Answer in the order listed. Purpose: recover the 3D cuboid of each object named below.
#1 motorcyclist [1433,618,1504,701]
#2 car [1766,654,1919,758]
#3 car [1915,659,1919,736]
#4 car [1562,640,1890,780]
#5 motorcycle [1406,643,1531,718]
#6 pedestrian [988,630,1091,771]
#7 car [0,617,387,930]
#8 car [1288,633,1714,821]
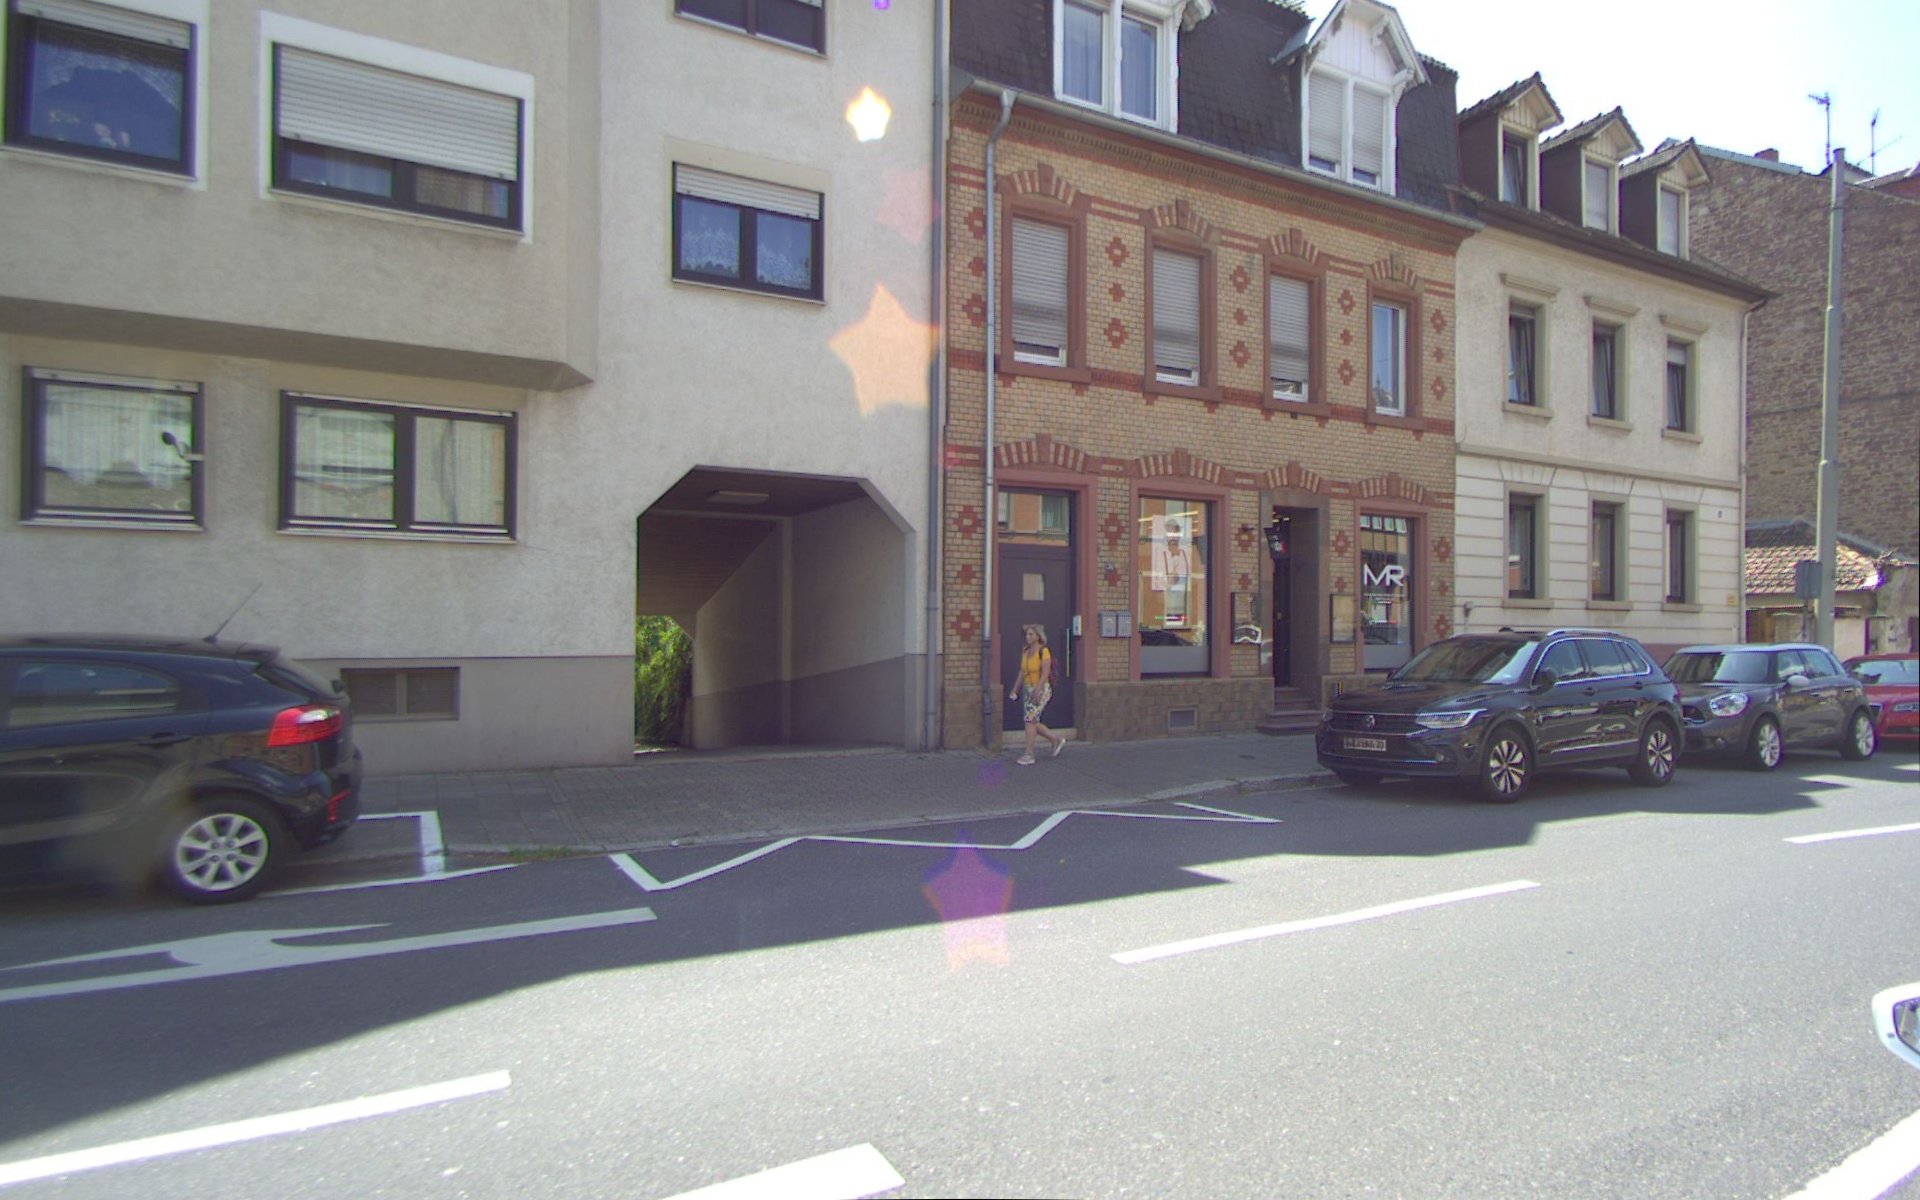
[{"bbox_3d":[7.958,0.916,15.729,0.703,1.264,0.715,2,-1,-29],"label":"motorcyclist"},{"bbox_3d":[14.751,1.578,15.788,4.452,1.441,1.831,2,-4,-32],"label":"car"},{"bbox_3d":[20.294,1.859,19.089,4.447,1.441,1.832,2,-4,-29],"label":"car"},{"bbox_3d":[10.342,1.414,13.511,4.447,1.617,1.833,2,-5,-29],"label":"car"},{"bbox_3d":[7.925,1.231,15.645,1.848,1.093,0.842,2,-1,-29],"label":"motorcycle"},{"bbox_3d":[0.903,1.118,11.472,0.959,1.515,0.605,2,0,-28],"label":"pedestrian"},{"bbox_3d":[-5.802,0.887,5.630,4.451,1.508,1.830,2,1,-31],"label":"car"},{"bbox_3d":[5.735,1.211,10.553,4.447,1.617,1.832,2,-4,-29],"label":"car"}]
